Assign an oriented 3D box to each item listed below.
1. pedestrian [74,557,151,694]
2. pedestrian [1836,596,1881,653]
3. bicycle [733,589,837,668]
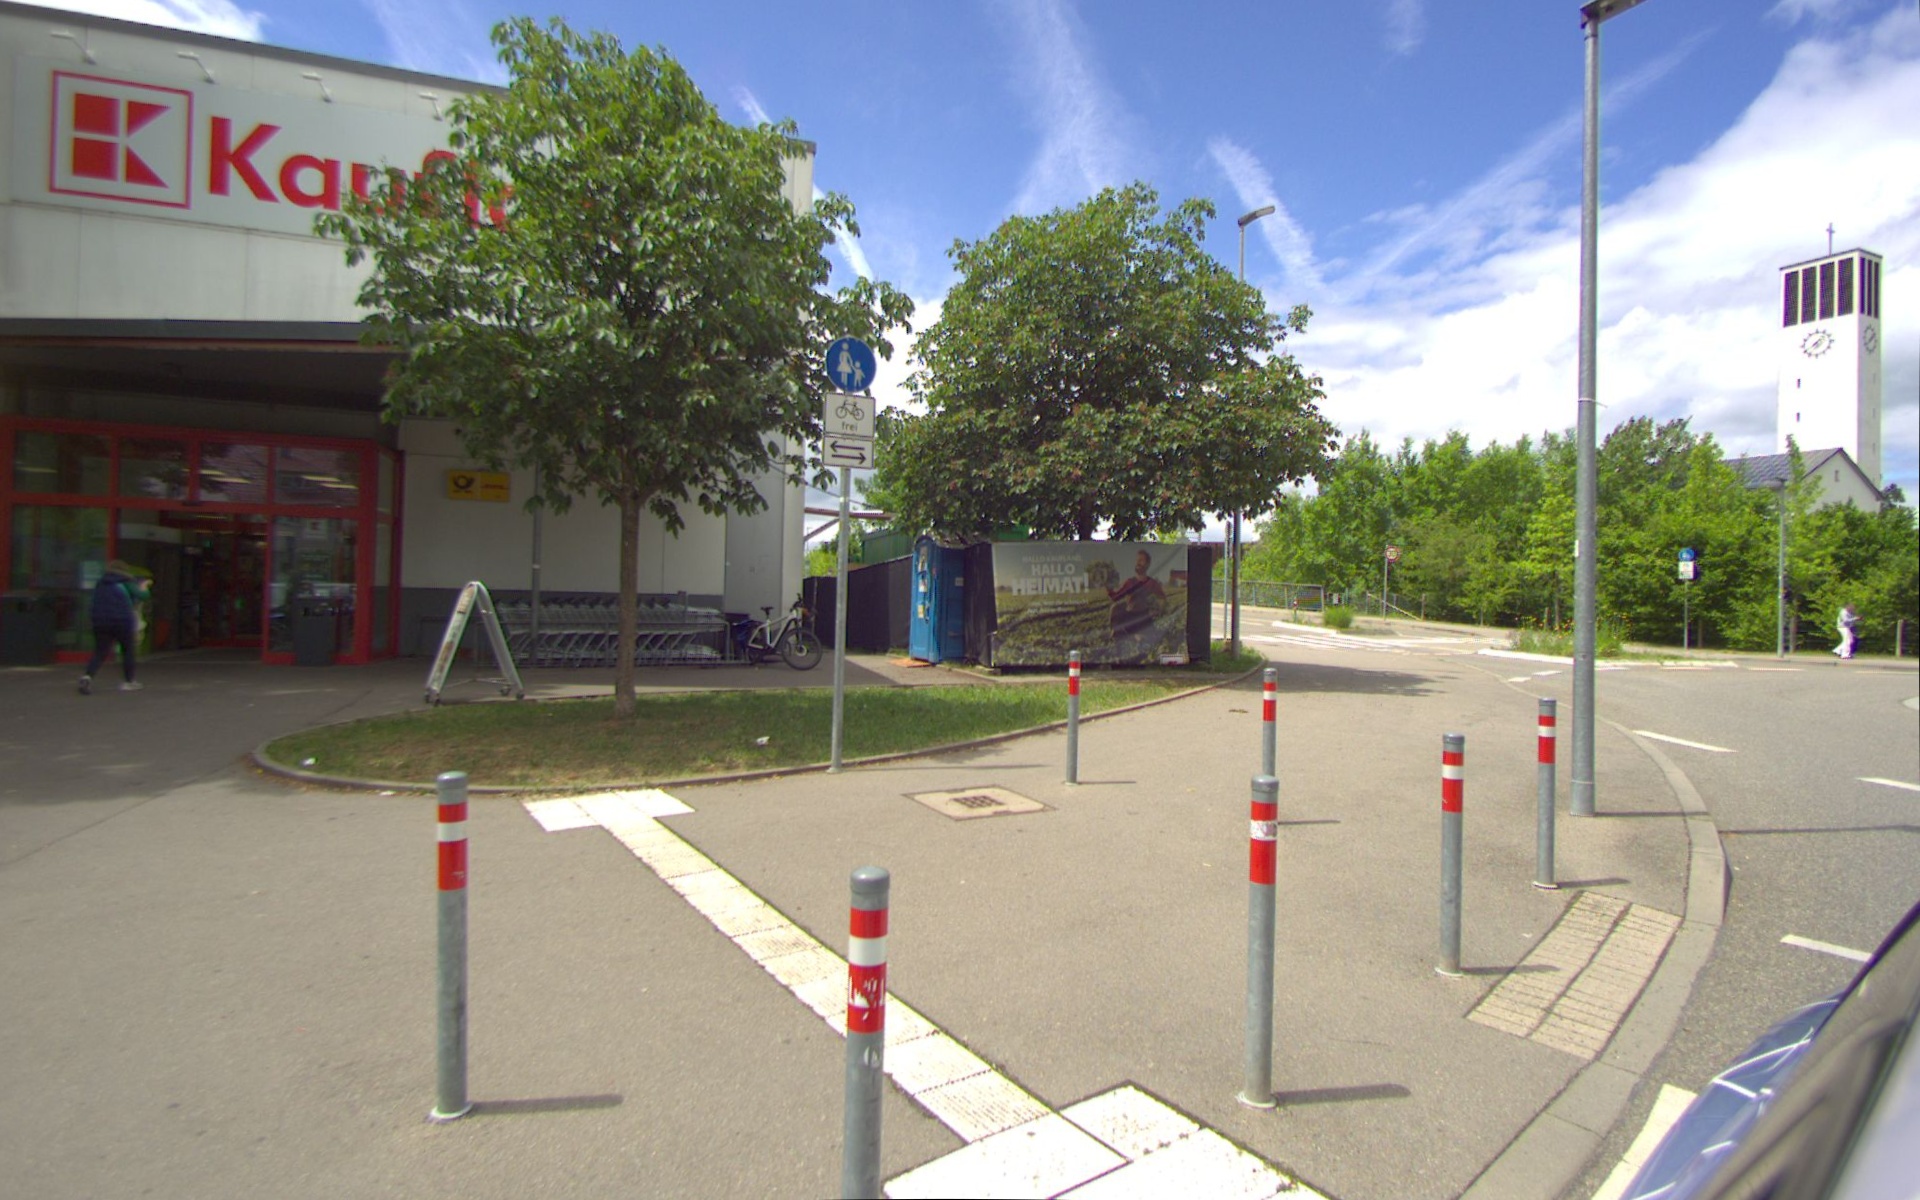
[{"bbox_3d":[-10.104,0.289,12.080,0.485,1.586,0.628,0,0,-16],"label":"pedestrian"},{"bbox_3d":[25.180,0.690,28.363,0.943,1.553,0.459,1,-1,-11],"label":"pedestrian"},{"bbox_3d":[-2.917,0.452,16.796,1.763,1.250,0.705,0,-1,39],"label":"bicycle"}]
